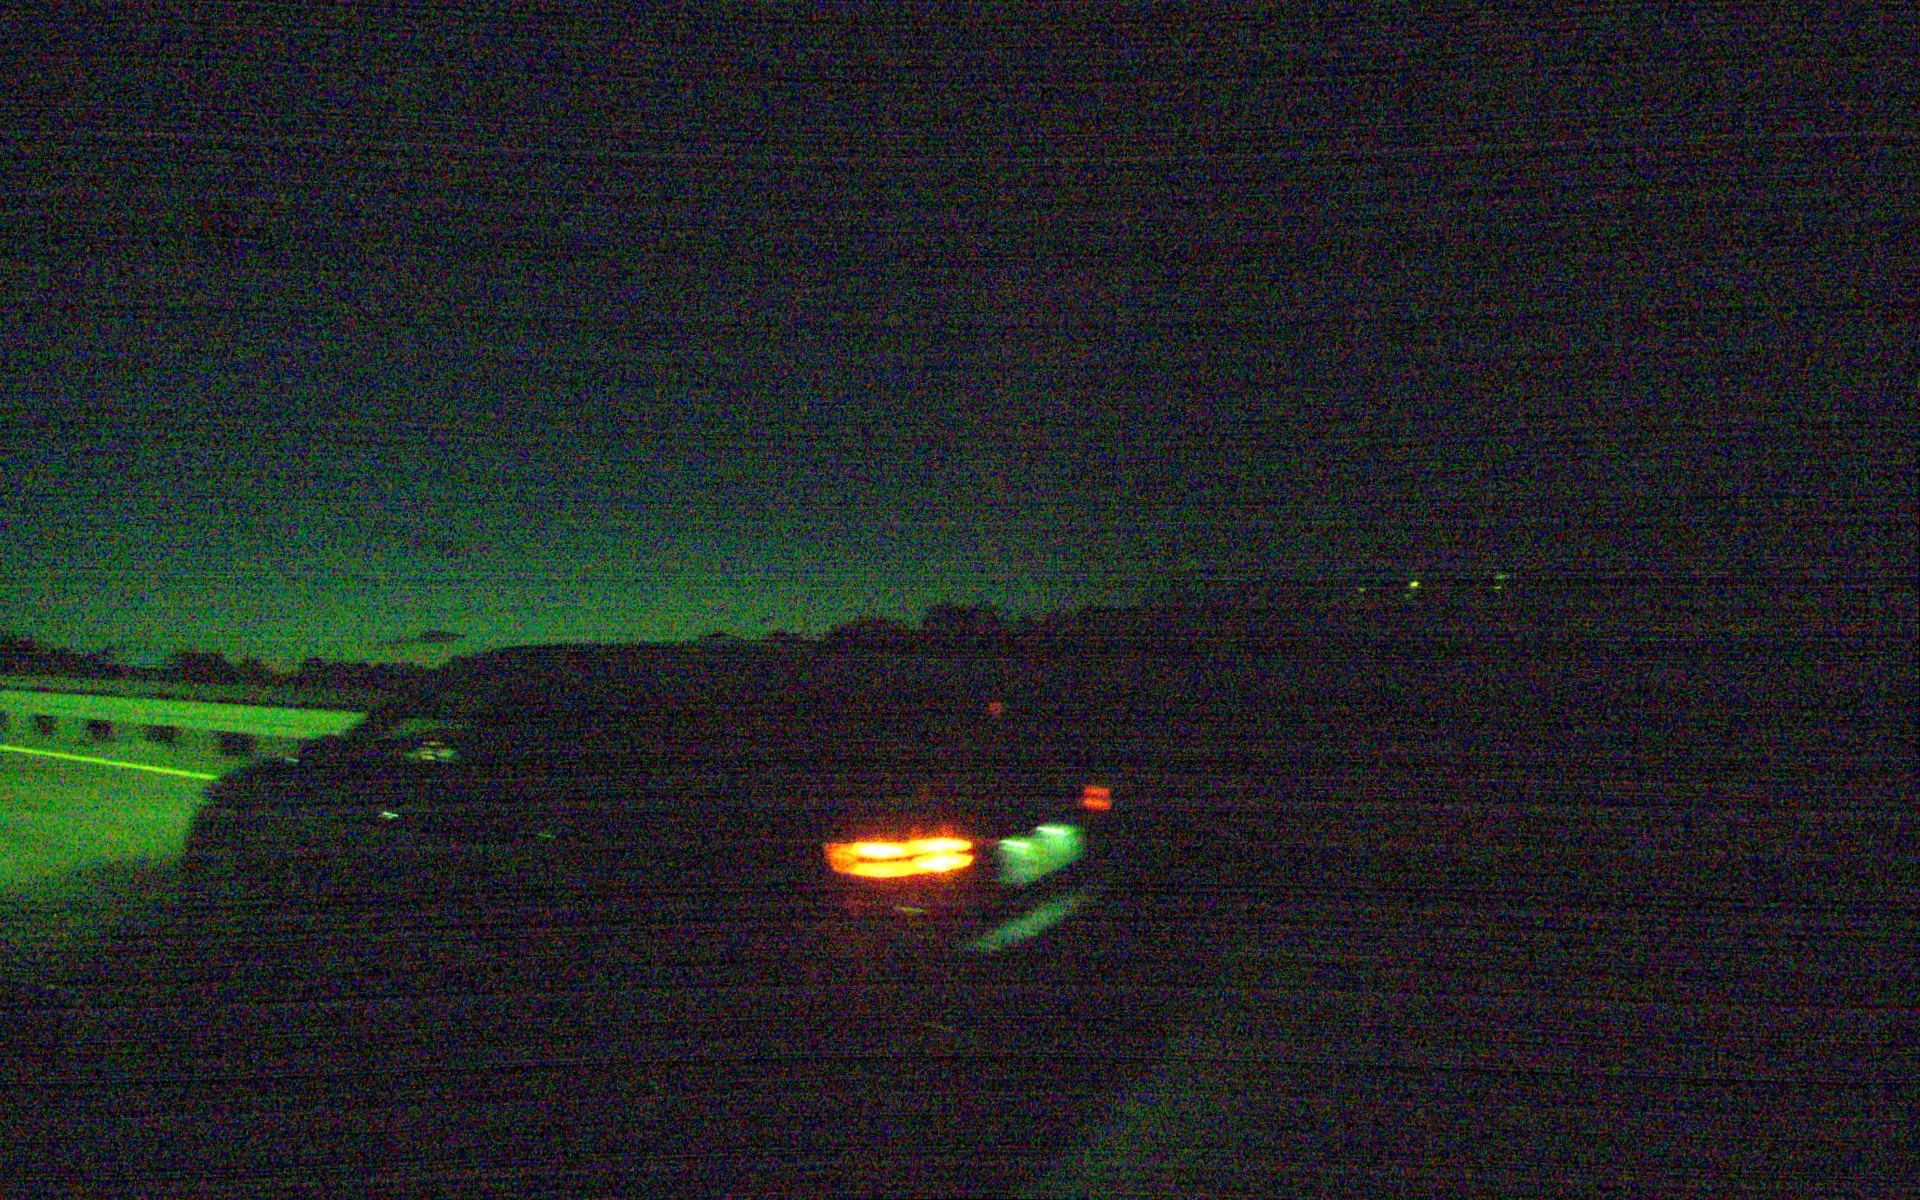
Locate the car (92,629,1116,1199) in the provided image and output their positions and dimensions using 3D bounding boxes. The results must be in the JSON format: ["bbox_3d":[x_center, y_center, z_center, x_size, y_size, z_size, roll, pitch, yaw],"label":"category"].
[{"bbox_3d":[-1.875,0.879,4.551,4.804,1.445,1.804,-1,0,32],"label":"car"}]
